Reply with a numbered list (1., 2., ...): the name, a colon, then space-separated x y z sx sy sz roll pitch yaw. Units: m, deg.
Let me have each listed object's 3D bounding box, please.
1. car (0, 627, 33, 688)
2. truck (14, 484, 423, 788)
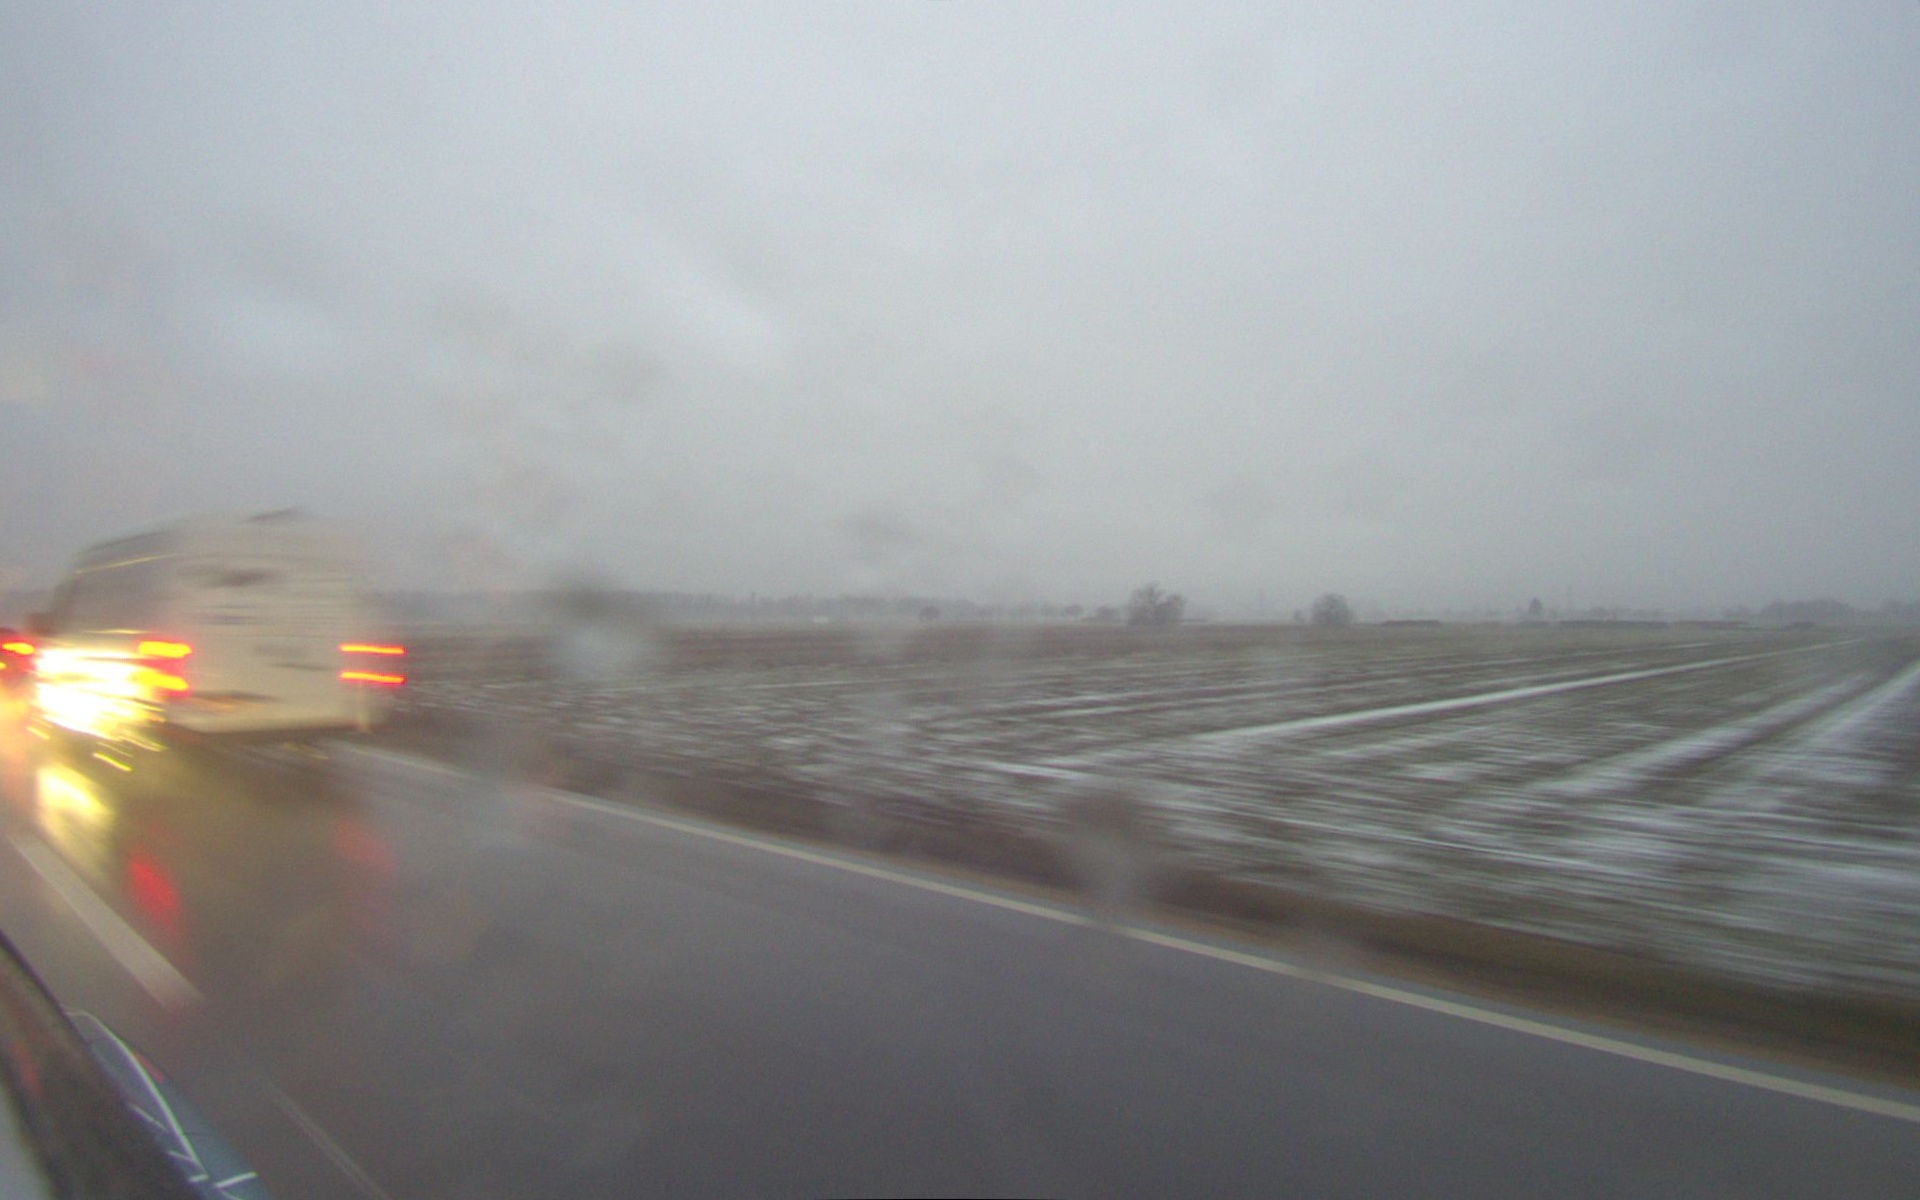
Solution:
1. car: -24.163 1.362 24.719 4.020 1.424 1.710 -1 -4 40
2. truck: -9.063 0.424 11.993 7.030 2.655 2.246 -1 -4 41
